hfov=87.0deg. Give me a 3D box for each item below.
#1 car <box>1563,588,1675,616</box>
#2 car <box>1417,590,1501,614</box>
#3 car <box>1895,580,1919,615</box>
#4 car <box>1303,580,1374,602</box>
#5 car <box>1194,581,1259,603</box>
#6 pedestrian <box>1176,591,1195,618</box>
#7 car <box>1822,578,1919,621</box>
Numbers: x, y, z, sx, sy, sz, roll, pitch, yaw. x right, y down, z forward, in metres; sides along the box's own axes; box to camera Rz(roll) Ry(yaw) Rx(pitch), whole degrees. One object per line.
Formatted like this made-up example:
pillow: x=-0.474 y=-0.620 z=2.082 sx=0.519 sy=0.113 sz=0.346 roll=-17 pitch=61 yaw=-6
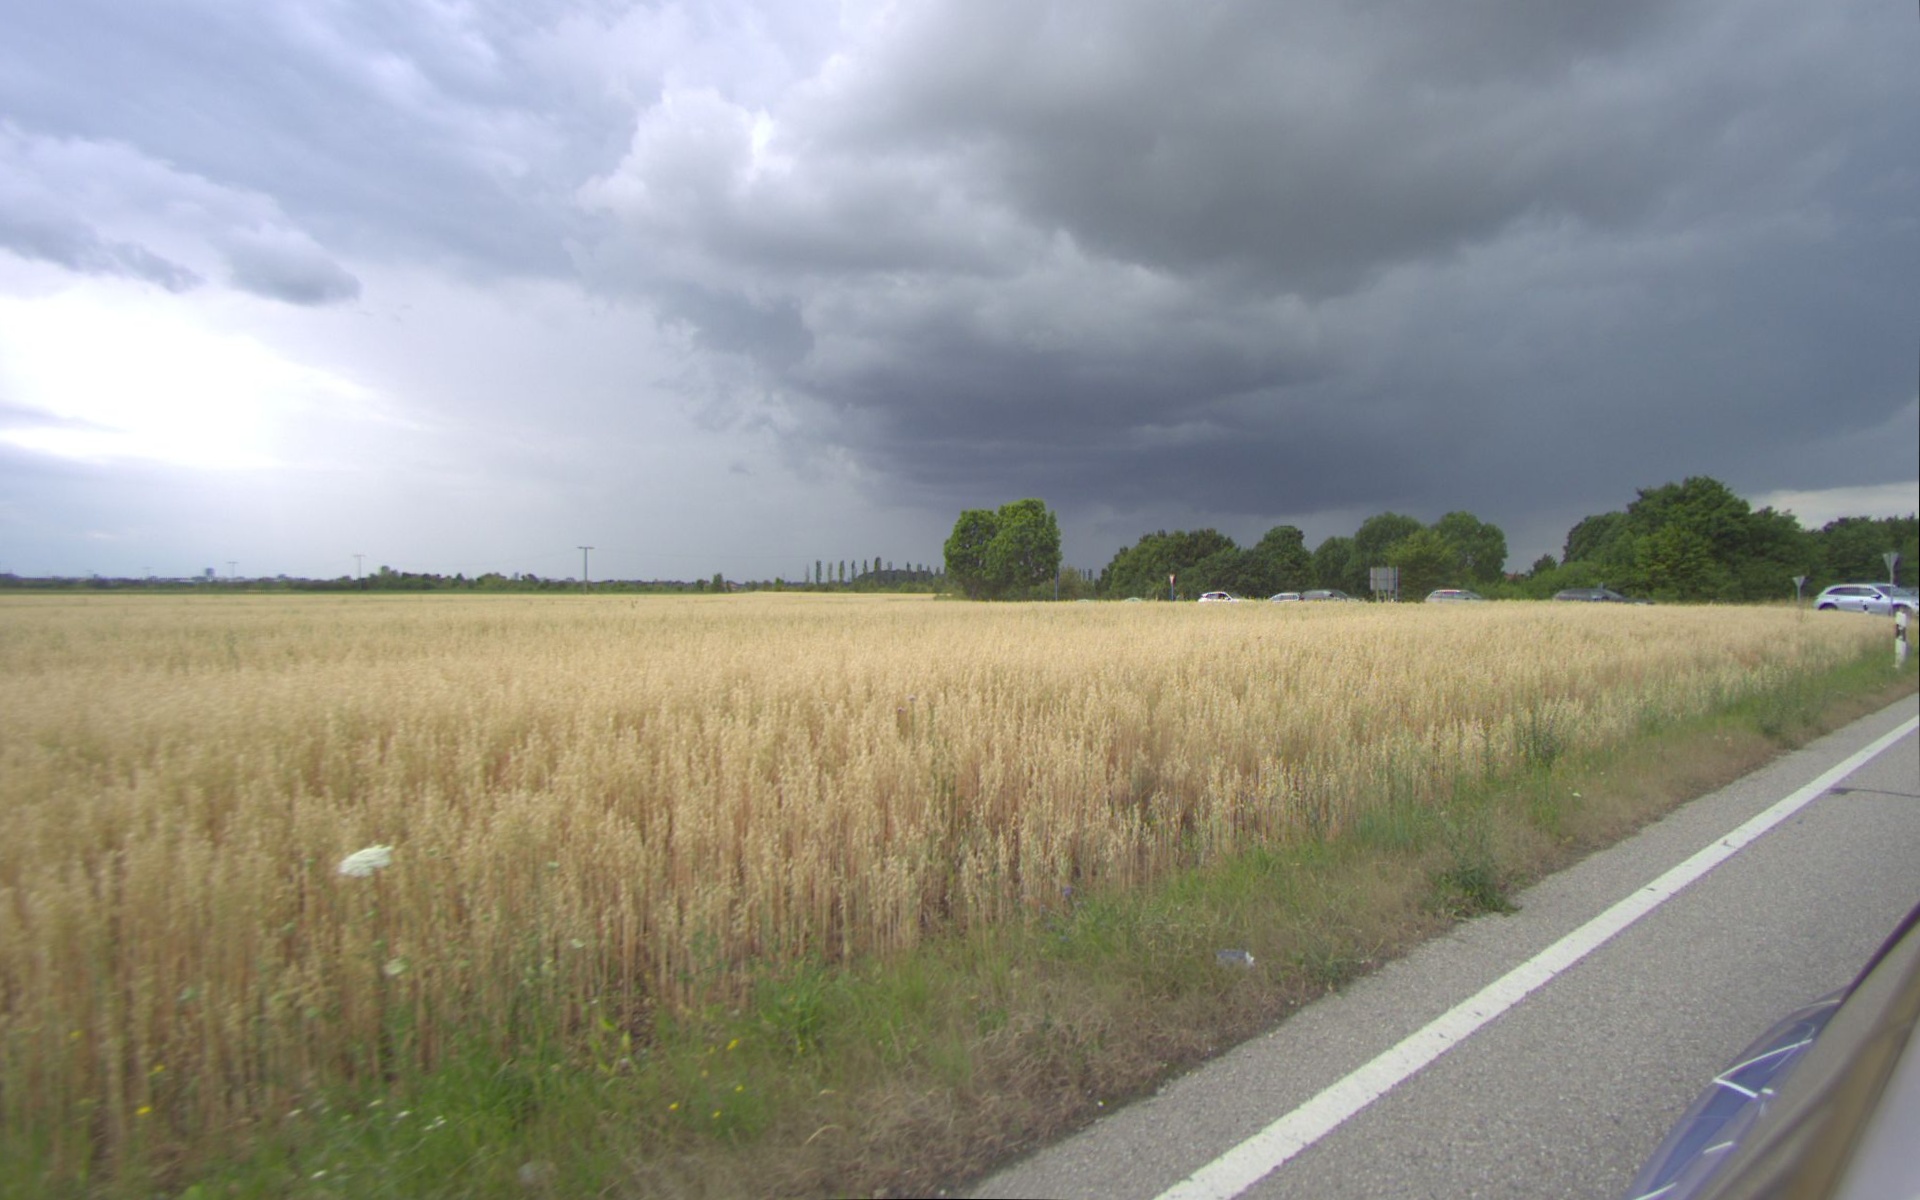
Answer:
car: x=34.908 y=0.071 z=53.710 sx=1.689 sy=1.370 sz=4.698 roll=-3 pitch=2 yaw=-33
car: x=29.844 y=0.120 z=60.637 sx=1.689 sy=1.370 sz=4.214 roll=0 pitch=1 yaw=-35
car: x=42.322 y=-0.107 z=42.763 sx=4.104 sy=1.465 sz=1.691 roll=1 pitch=2 yaw=45
car: x=25.098 y=-0.590 z=67.154 sx=1.690 sy=1.370 sz=4.214 roll=-3 pitch=2 yaw=-35
car: x=19.584 y=-0.633 z=74.420 sx=1.690 sy=1.513 sz=4.639 roll=-3 pitch=2 yaw=-35
pedestrian: x=13.854 y=0.265 z=62.211 sx=0.940 sy=1.631 sz=0.763 roll=0 pitch=0 yaw=37
car: x=38.726 y=-0.050 z=41.888 sx=1.957 sy=1.606 sz=4.402 roll=-2 pitch=2 yaw=-8
